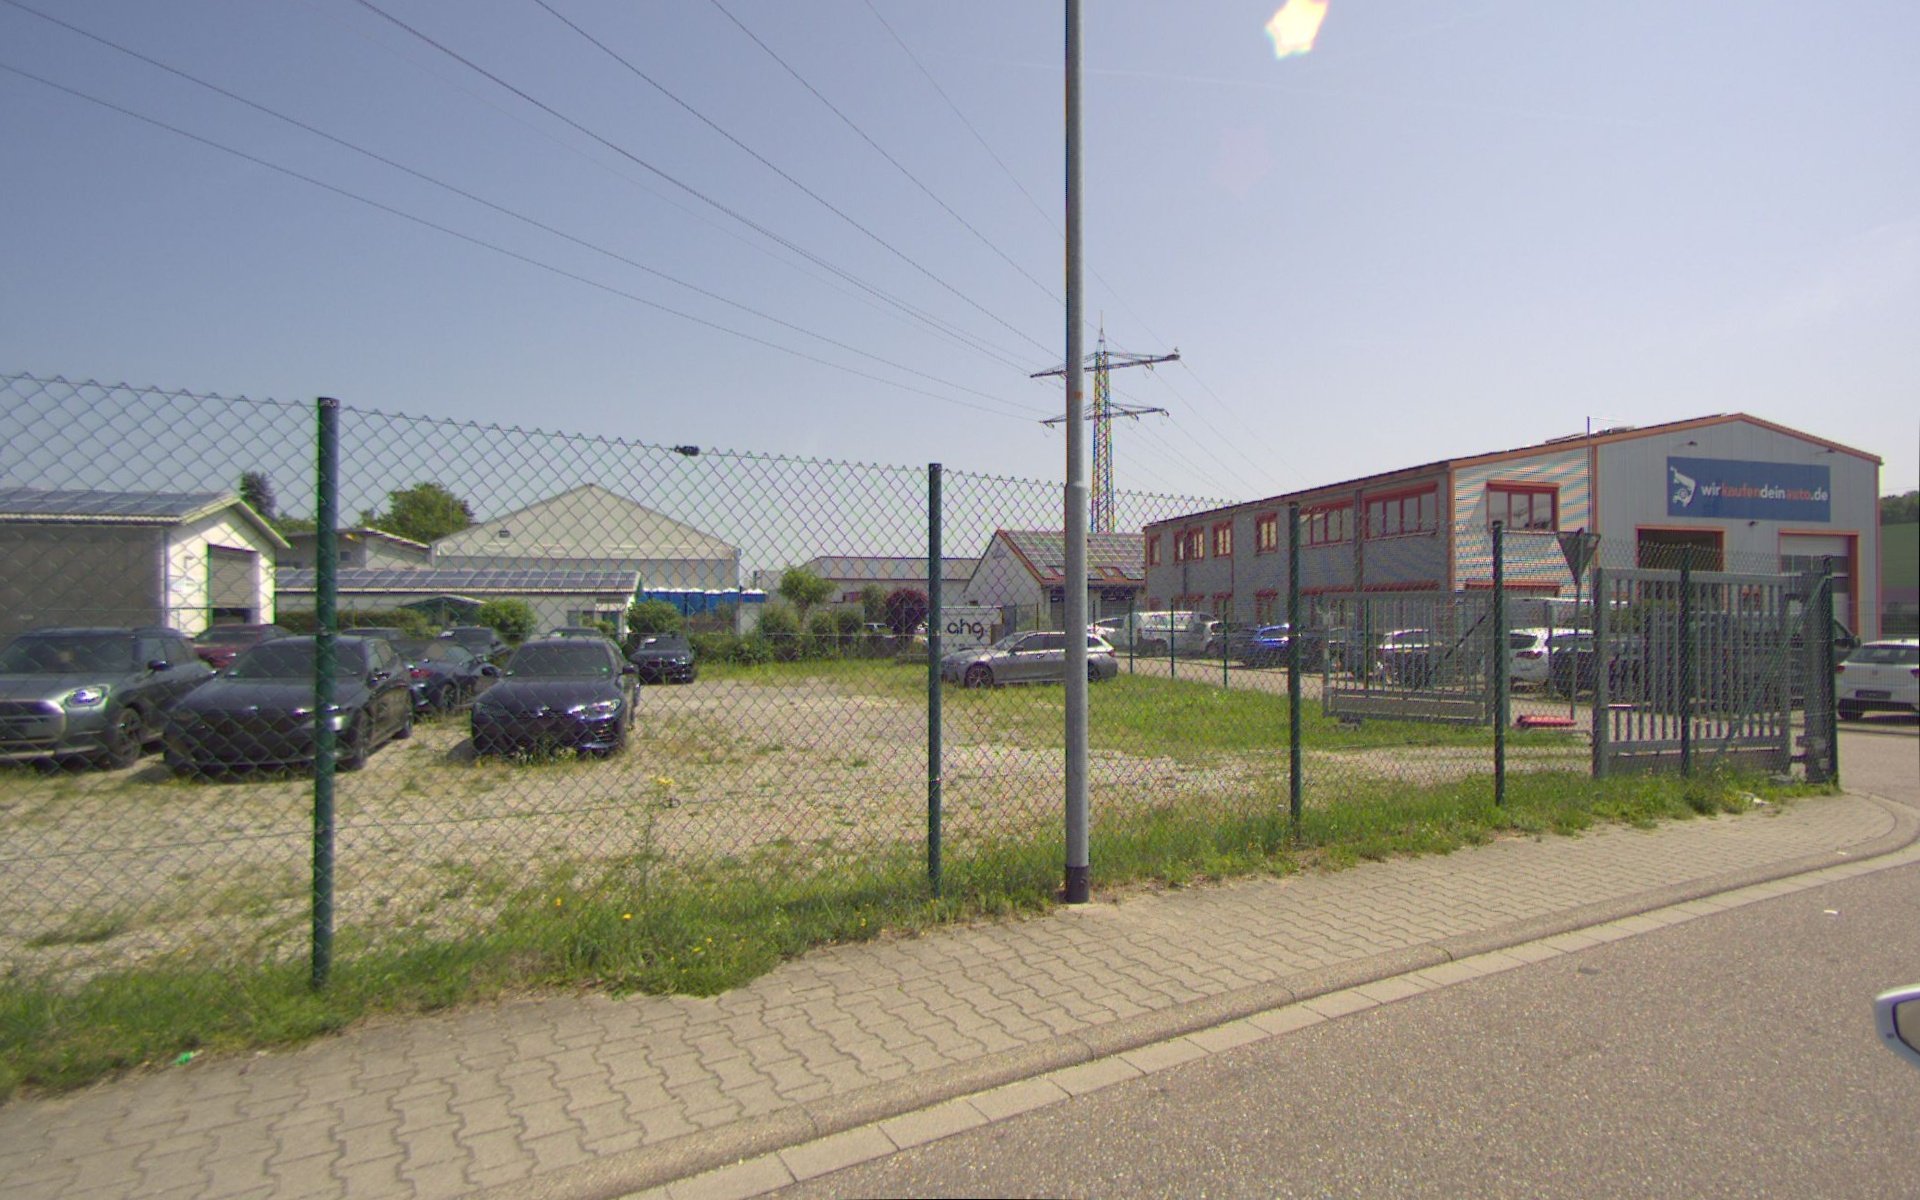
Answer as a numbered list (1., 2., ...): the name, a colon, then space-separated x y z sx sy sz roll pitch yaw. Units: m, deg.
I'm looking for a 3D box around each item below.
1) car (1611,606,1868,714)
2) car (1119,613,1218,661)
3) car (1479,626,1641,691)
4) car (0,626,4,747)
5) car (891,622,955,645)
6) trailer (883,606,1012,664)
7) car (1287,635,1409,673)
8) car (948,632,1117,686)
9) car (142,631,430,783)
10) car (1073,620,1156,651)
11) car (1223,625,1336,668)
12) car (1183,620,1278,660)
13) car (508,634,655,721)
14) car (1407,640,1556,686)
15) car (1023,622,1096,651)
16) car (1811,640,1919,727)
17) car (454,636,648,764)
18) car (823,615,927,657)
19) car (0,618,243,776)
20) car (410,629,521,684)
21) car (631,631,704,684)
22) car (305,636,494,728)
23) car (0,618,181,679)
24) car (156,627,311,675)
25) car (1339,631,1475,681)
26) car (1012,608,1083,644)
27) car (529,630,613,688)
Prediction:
1. car: 16.003 1.181 20.674 4.443 2.057 1.951 0 -1 -16
2. car: 9.063 1.580 43.713 3.842 2.005 1.817 0 -1 -16
3. car: 15.092 1.438 25.313 3.544 1.560 1.503 0 -1 -16
4. car: -12.998 1.073 11.170 1.837 1.582 3.686 1 -2 -15
5. car: -2.251 2.023 60.603 3.623 1.359 1.661 0 -1 -16
6. trailer: -0.429 1.210 35.089 4.374 1.971 1.714 0 -1 0
7. car: 12.616 1.748 32.703 3.544 1.167 1.503 0 -1 -16
8. car: 1.812 1.438 25.224 4.074 1.277 1.231 0 -1 -16
9. car: -8.116 1.180 12.536 1.837 1.575 3.759 1 -2 -15
10. car: 7.790 1.774 50.673 3.842 1.536 1.503 0 -1 -16
11. car: 11.203 1.602 35.261 3.544 1.435 1.503 0 -1 -16
12. car: 11.104 1.628 41.299 3.544 1.564 1.503 0 -1 -16
13. car: -7.223 1.418 19.642 1.966 1.454 4.413 1 -1 -11
14. car: 14.214 1.687 27.407 3.544 1.167 1.503 0 -1 -16
15. car: 5.651 2.039 56.921 3.842 1.580 1.503 0 -1 -16
16. car: 17.577 1.450 18.119 3.544 1.423 1.746 0 -1 -16
17. car: -5.555 1.264 14.255 1.969 1.454 4.651 1 -2 -15
18. car: -3.433 1.444 40.196 3.932 1.619 1.872 1 -1 -14
19. car: -10.662 1.070 12.340 1.837 1.665 3.623 1 -2 -15
20. car: -14.052 1.562 28.839 1.969 1.454 4.651 1 -2 -15
21. car: -8.825 1.679 30.509 1.969 1.454 4.651 1 -2 -15
22. car: -10.098 1.407 18.463 1.965 1.439 3.990 0 -1 -13
23. car: -22.586 1.221 26.268 1.837 1.452 4.590 1 -2 -15
24. car: -19.355 1.327 27.039 1.837 1.191 4.590 1 -2 -15
25. car: 13.135 1.621 29.557 3.544 1.399 1.503 0 -1 -16
26. car: 5.130 1.535 58.903 3.842 2.040 1.503 0 -1 -16
27. car: -11.200 1.652 29.142 1.837 1.575 3.759 1 -2 -15
